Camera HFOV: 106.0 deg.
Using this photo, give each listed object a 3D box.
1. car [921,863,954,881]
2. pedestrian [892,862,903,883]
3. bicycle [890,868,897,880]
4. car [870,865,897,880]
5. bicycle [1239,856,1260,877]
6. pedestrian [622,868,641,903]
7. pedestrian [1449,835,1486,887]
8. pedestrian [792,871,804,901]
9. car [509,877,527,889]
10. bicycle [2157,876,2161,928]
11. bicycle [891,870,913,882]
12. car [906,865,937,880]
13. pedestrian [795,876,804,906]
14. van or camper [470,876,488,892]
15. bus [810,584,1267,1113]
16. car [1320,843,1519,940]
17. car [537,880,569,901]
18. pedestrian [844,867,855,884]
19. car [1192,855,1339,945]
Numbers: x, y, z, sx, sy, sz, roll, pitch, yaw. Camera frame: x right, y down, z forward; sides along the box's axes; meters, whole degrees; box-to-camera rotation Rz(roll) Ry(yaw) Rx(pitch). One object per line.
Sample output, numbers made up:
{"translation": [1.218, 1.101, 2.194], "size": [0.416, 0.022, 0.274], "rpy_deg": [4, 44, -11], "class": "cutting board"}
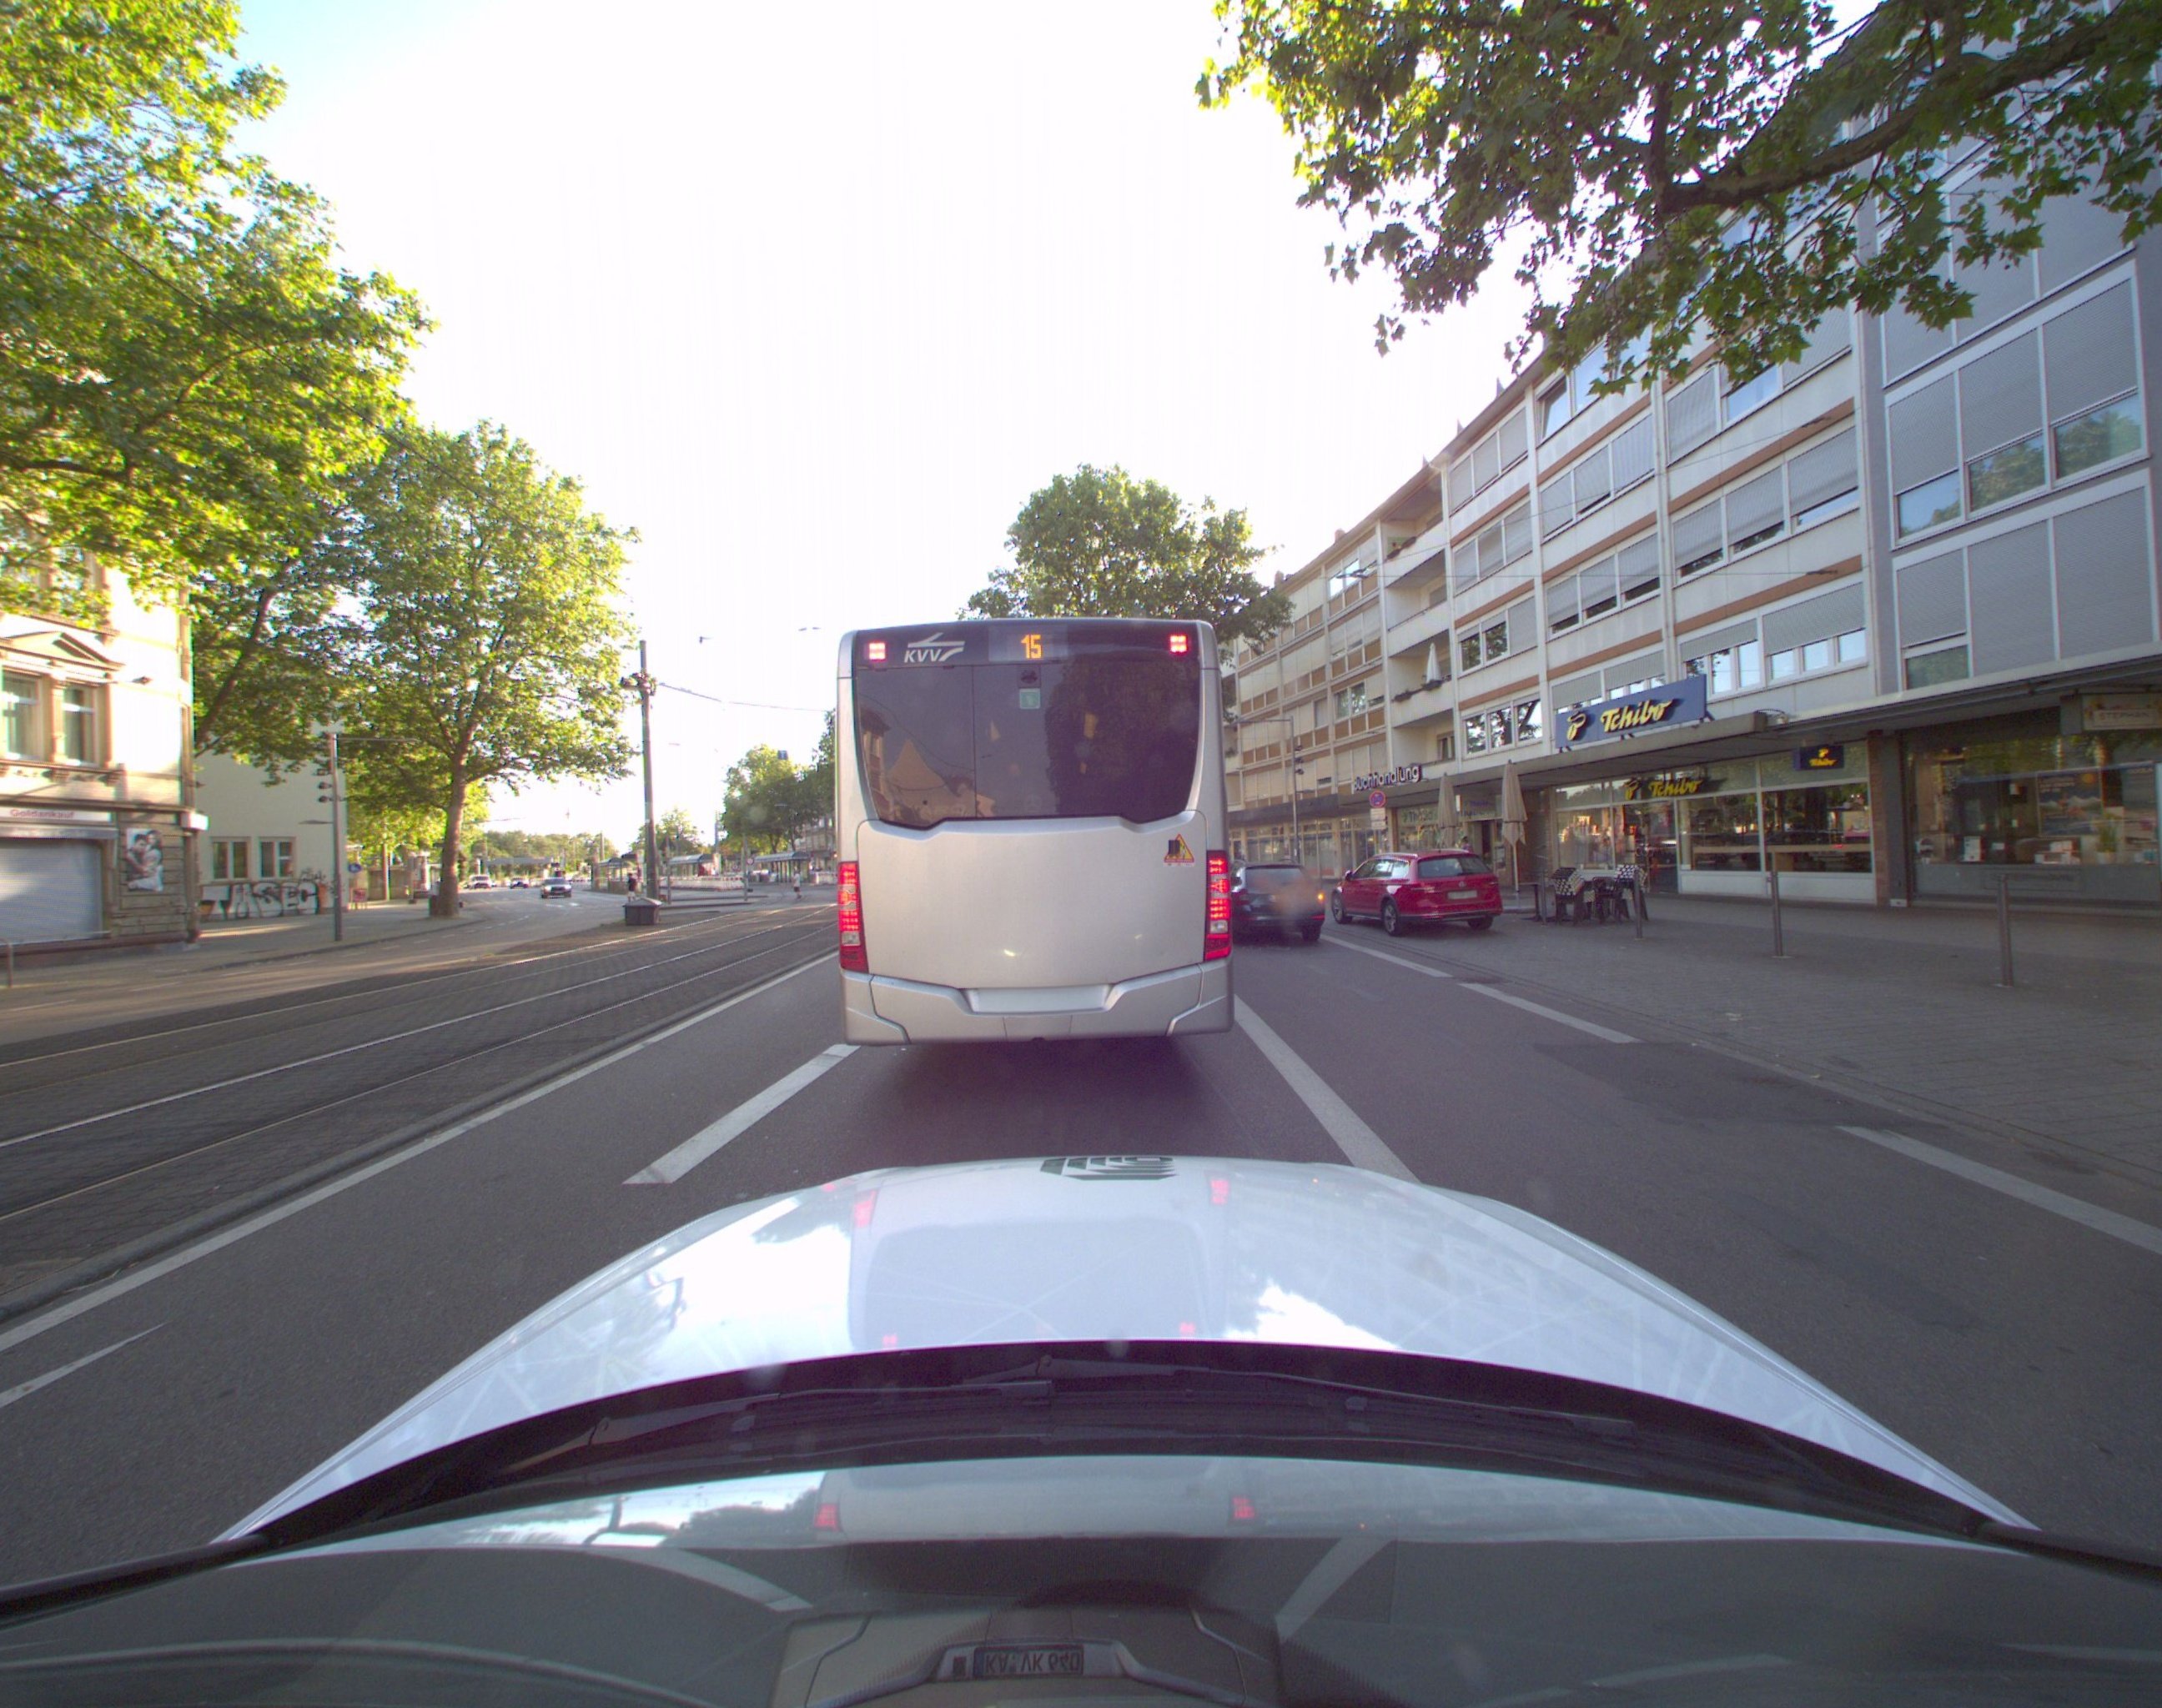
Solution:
{"translation": [-13.792, 1.728, 78.154], "size": [1.675, 1.516, 3.376], "rpy_deg": [-6, 2, -35], "class": "car"}
{"translation": [-15.711, 1.567, 69.795], "size": [0.714, 1.725, 0.401], "rpy_deg": [-3, -1, 20], "class": "pedestrian"}
{"translation": [-19.701, 2.105, 85.573], "size": [0.508, 1.211, 2.079], "rpy_deg": [-2, 0, -19], "class": "bicycle"}
{"translation": [-21.532, 2.049, 88.720], "size": [1.675, 1.468, 3.375], "rpy_deg": [-6, 2, -36], "class": "car"}
{"translation": [9.364, 0.691, 45.373], "size": [0.438, 1.092, 1.453], "rpy_deg": [-5, 0, -18], "class": "bicycle"}
{"translation": [-22.276, 1.574, 40.344], "size": [0.426, 1.710, 0.681], "rpy_deg": [-1, -1, 33], "class": "pedestrian"}
{"translation": [11.806, 0.219, 24.904], "size": [0.638, 1.552, 0.806], "rpy_deg": [-2, -1, -6], "class": "pedestrian"}
{"translation": [-14.330, 1.619, 41.247], "size": [0.522, 1.504, 0.589], "rpy_deg": [-2, -1, -21], "class": "pedestrian"}
{"translation": [-79.070, 4.118, 114.380], "size": [1.901, 1.585, 4.160], "rpy_deg": [-2, -1, -37], "class": "car"}
{"translation": [8.714, 0.669, 5.510], "size": [0.294, 1.040, 1.711], "rpy_deg": [-5, 0, -12], "class": "bicycle"}
{"translation": [-15.431, 1.917, 70.202], "size": [1.825, 0.942, 0.466], "rpy_deg": [-3, -1, 20], "class": "bicycle"}
{"translation": [-15.997, 1.857, 81.525], "size": [1.675, 1.394, 3.374], "rpy_deg": [-6, 2, -37], "class": "car"}
{"translation": [-14.456, 1.893, 41.837], "size": [0.409, 1.504, 0.514], "rpy_deg": [-2, -1, -20], "class": "pedestrian"}
{"translation": [-91.256, 4.518, 123.443], "size": [2.184, 2.319, 5.046], "rpy_deg": [-2, -1, -37], "class": "van or camper"}
{"translation": [-0.245, 0.010, 10.034], "size": [2.649, 3.099, 10.214], "rpy_deg": [-2, -1, 0], "class": "bus"}
{"translation": [6.357, 0.638, 15.955], "size": [1.774, 1.496, 4.563], "rpy_deg": [-4, 0, -2], "class": "car"}
{"translation": [-40.242, 2.750, 62.052], "size": [1.900, 1.472, 4.161], "rpy_deg": [-2, -1, -35], "class": "car"}
{"translation": [-18.634, 1.741, 65.416], "size": [0.779, 1.303, 0.590], "rpy_deg": [-2, -1, -19], "class": "pedestrian"}
{"translation": [3.369, 0.787, 15.666], "size": [1.798, 1.474, 4.069], "rpy_deg": [-1, -1, -1], "class": "car"}
